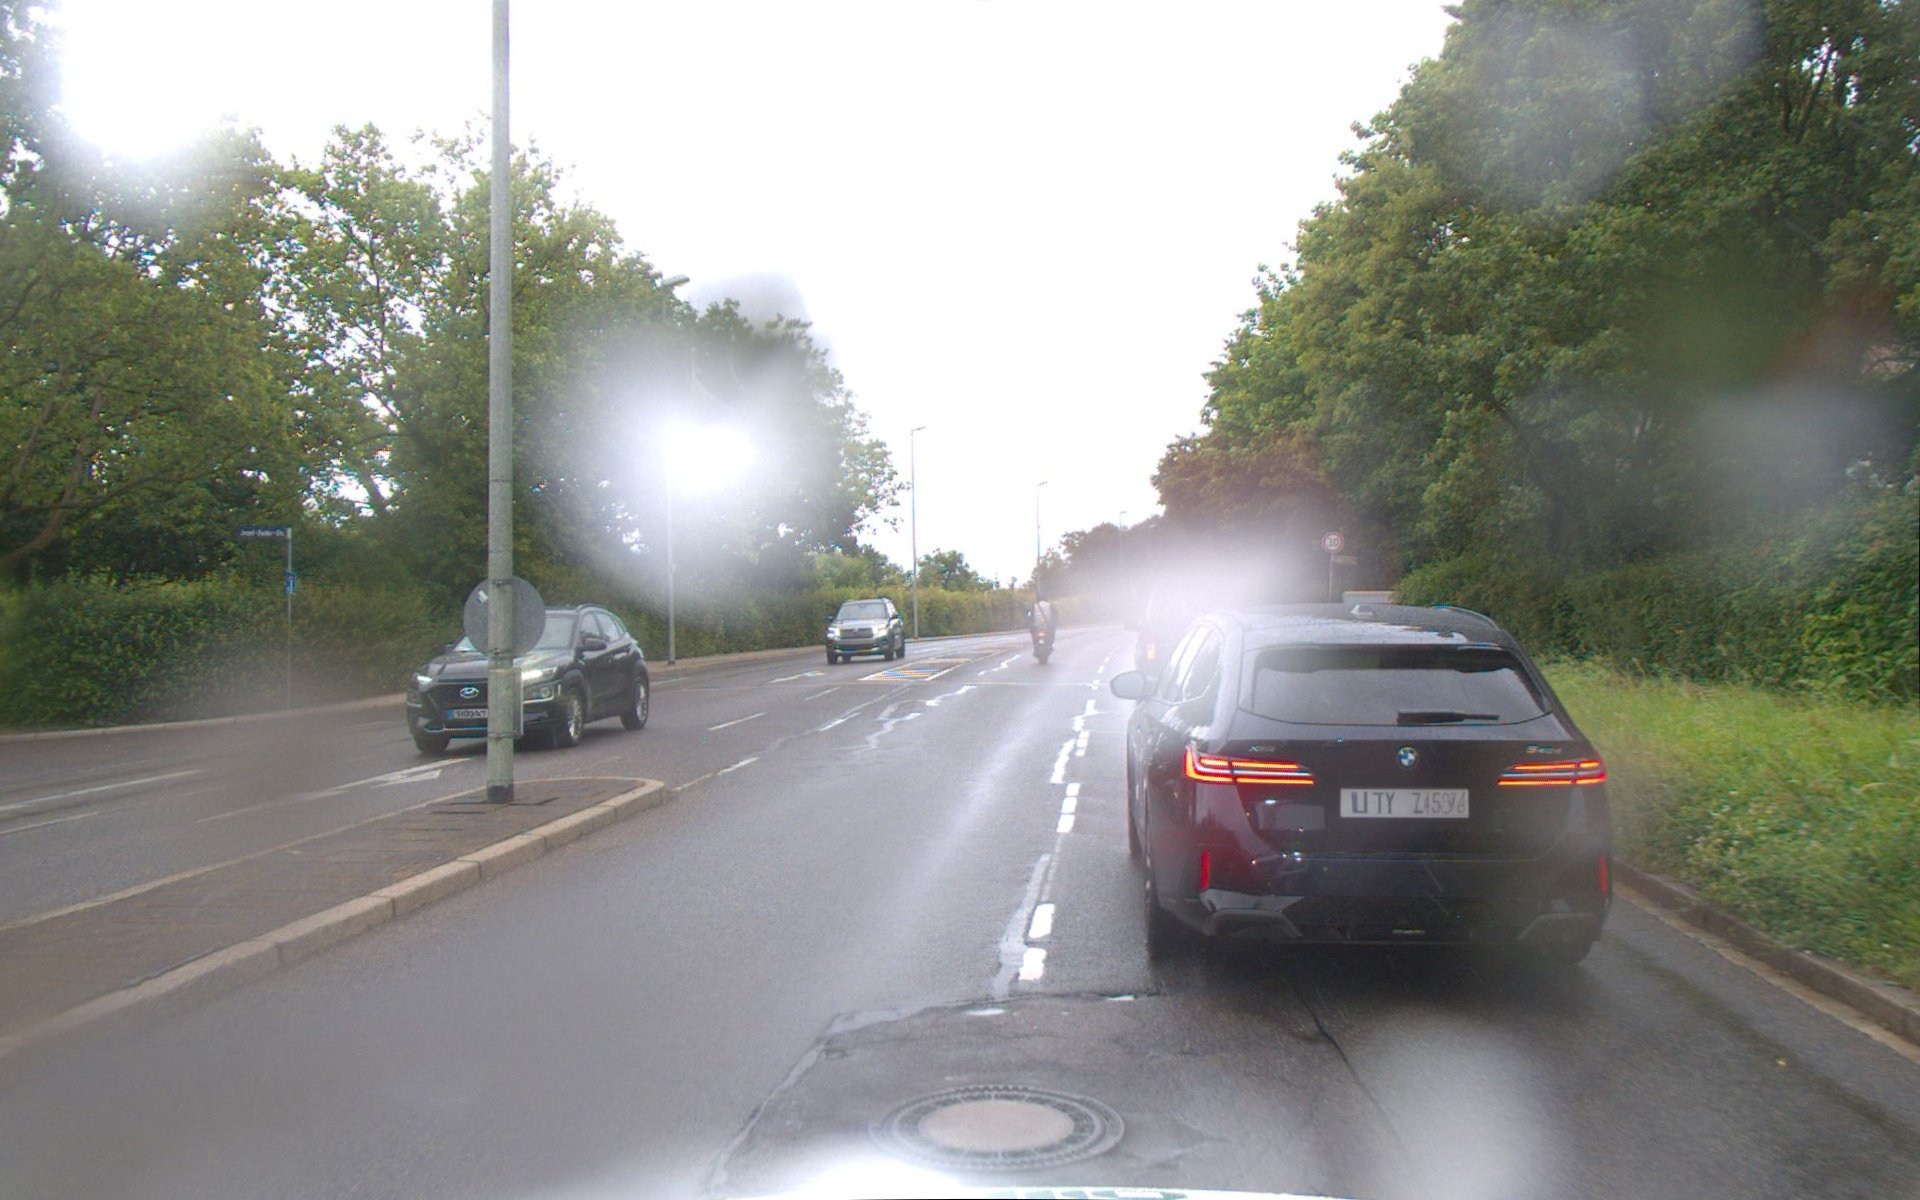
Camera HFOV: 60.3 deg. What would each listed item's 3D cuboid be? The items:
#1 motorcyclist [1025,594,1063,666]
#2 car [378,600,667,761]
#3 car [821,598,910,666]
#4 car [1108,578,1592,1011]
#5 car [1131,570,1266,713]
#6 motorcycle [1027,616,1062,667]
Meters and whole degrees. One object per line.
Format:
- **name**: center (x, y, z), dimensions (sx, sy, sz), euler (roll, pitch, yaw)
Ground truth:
- **motorcyclist**: center (1.974, 0.701, 38.823), dimensions (0.827, 1.676, 0.468), euler (-1, 1, 6)
- **car**: center (-4.959, 0.850, 19.341), dimensions (1.982, 1.590, 3.879), euler (-3, 0, 5)
- **car**: center (-2.431, 0.800, 43.354), dimensions (1.757, 1.631, 3.734), euler (-3, 0, 5)
- **car**: center (1.621, 0.703, 7.897), dimensions (1.727, 1.563, 3.675), euler (-1, 0, 6)
- **car**: center (3.329, 0.507, 23.553), dimensions (1.729, 1.841, 3.908), euler (-1, 1, 6)
- **motorcycle**: center (1.993, 0.974, 38.984), dimensions (0.725, 1.139, 1.427), euler (0, 1, 6)
